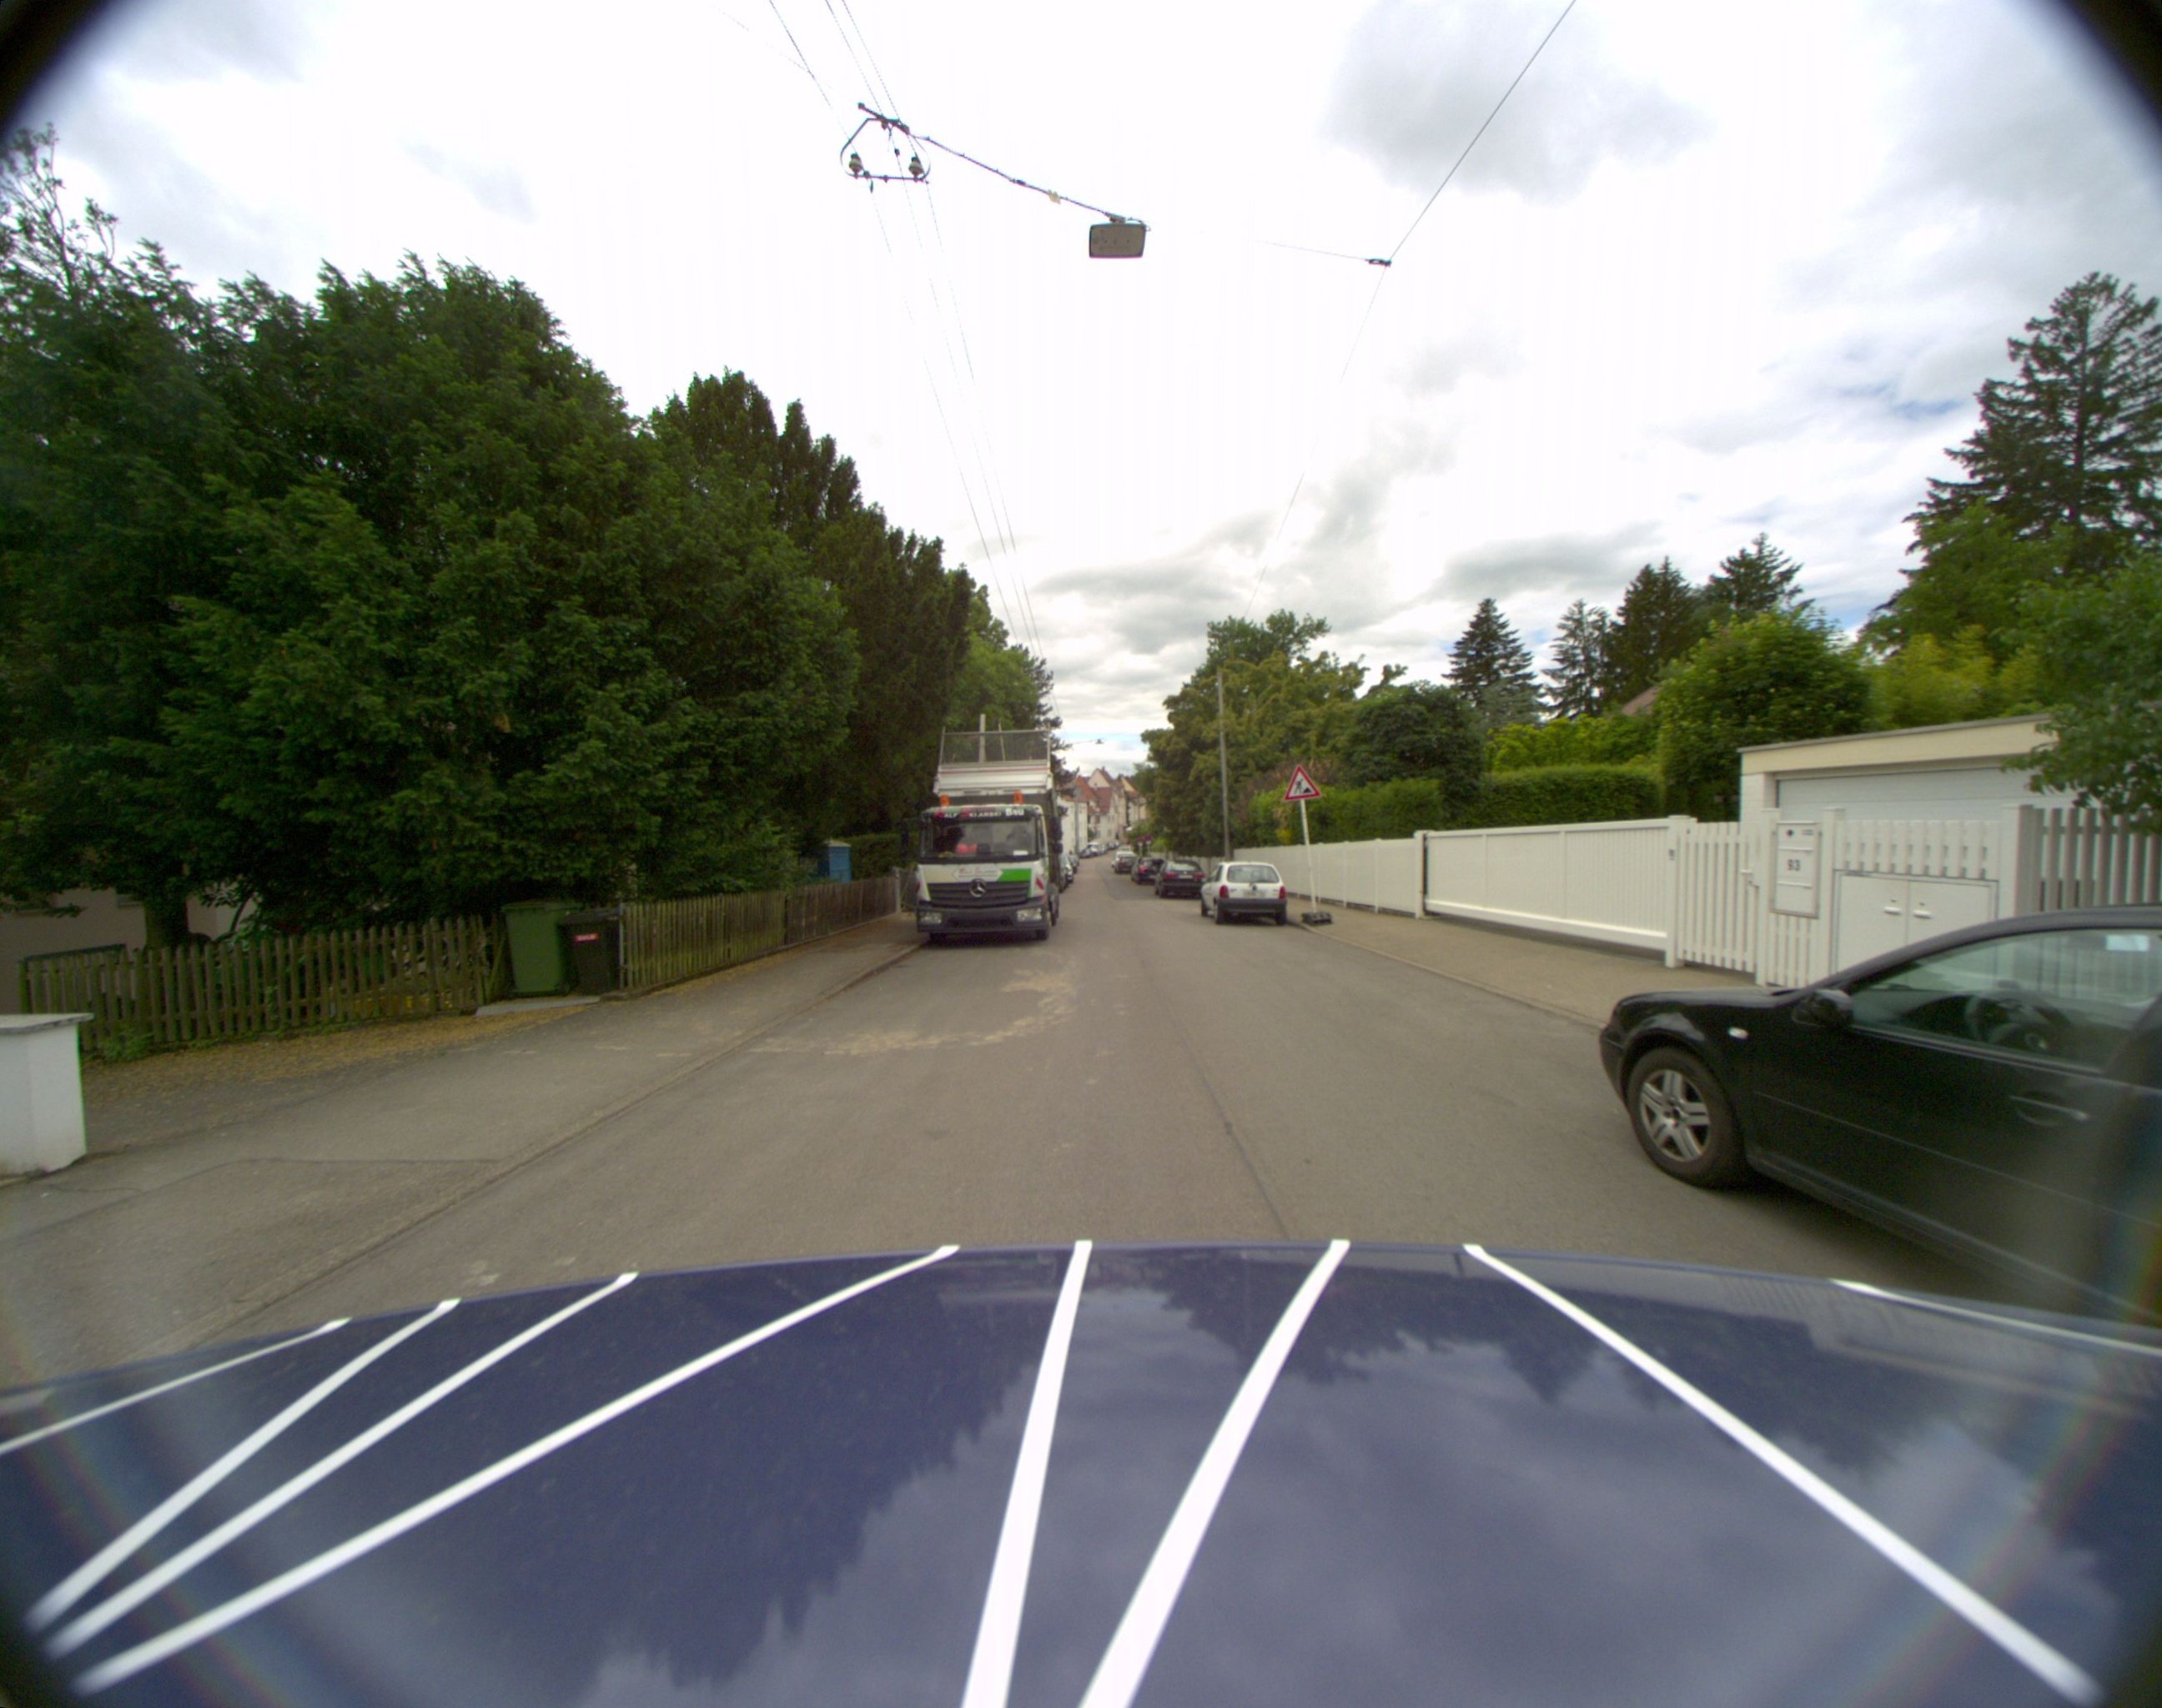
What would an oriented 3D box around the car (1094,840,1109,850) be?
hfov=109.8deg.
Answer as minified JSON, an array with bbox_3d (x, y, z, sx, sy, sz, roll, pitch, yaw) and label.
[{"bbox_3d":[3.760,-1.614,137.309,1.827,1.437,4.384,-1,4,13],"label":"car"}]

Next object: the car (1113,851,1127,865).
[{"bbox_3d":[4.727,0.447,91.232,1.445,1.543,2.771,2,1,8],"label":"car"}]

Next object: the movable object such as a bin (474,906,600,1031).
[{"bbox_3d":[-5.909,1.219,8.301,0.691,1.149,0.766,-8,2,-8],"label":"movable object such as a bin"}]

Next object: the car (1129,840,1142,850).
[{"bbox_3d":[9.977,-1.626,139.555,1.805,1.472,4.329,0,4,12],"label":"car"}]

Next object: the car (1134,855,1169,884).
[{"bbox_3d":[3.912,0.826,42.676,1.659,1.472,3.888,1,0,1],"label":"car"}]

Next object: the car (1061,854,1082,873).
[{"bbox_3d":[-0.890,0.886,71.488,1.754,1.599,4.074,-3,1,1],"label":"car"}]

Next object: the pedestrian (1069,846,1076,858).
[{"bbox_3d":[-1.263,-0.347,113.671,0.822,1.750,0.643,-3,2,-1],"label":"pedestrian"}]

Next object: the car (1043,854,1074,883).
[{"bbox_3d":[-1.424,0.815,46.304,1.762,1.596,4.573,-2,0,-3],"label":"car"}]

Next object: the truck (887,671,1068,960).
[{"bbox_3d":[-1.788,-0.661,16.269,2.530,4.721,7.187,-2,1,1],"label":"truck"}]

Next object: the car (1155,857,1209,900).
[{"bbox_3d":[3.794,0.875,29.172,1.644,1.414,4.550,1,0,3],"label":"car"}]

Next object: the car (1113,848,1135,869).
[{"bbox_3d":[4.061,0.394,71.756,1.859,1.902,4.619,1,1,1],"label":"car"}]

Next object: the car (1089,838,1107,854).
[{"bbox_3d":[2.946,-1.398,130.393,1.996,2.410,5.294,0,4,13],"label":"car"}]

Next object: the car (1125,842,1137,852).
[{"bbox_3d":[8.566,-1.156,130.659,1.609,1.445,3.615,2,4,12],"label":"car"}]

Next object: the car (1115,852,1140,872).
[{"bbox_3d":[3.947,0.670,65.135,1.795,1.614,4.342,0,0,-2],"label":"car"}]

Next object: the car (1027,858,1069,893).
[{"bbox_3d":[-1.484,0.945,35.739,1.656,1.415,4.660,-2,0,1],"label":"car"}]

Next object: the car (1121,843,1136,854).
[{"bbox_3d":[7.961,-0.917,126.276,1.807,1.650,4.153,3,3,11],"label":"car"}]

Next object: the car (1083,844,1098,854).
[{"bbox_3d":[1.587,-0.838,124.821,1.821,1.478,4.288,-1,3,10],"label":"car"}]

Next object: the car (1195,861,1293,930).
[{"bbox_3d":[3.851,0.925,18.543,1.599,1.425,4.000,1,0,1],"label":"car"}]

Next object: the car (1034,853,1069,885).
[{"bbox_3d":[-1.531,0.760,40.594,1.702,1.561,4.307,-1,1,-1],"label":"car"}]

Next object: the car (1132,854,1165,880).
[{"bbox_3d":[4.189,0.808,47.301,1.626,1.524,2.961,1,0,-3],"label":"car"}]

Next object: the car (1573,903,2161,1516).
[{"bbox_3d":[3.536,0.977,2.156,1.641,1.387,3.988,1,0,-1],"label":"car"}]
